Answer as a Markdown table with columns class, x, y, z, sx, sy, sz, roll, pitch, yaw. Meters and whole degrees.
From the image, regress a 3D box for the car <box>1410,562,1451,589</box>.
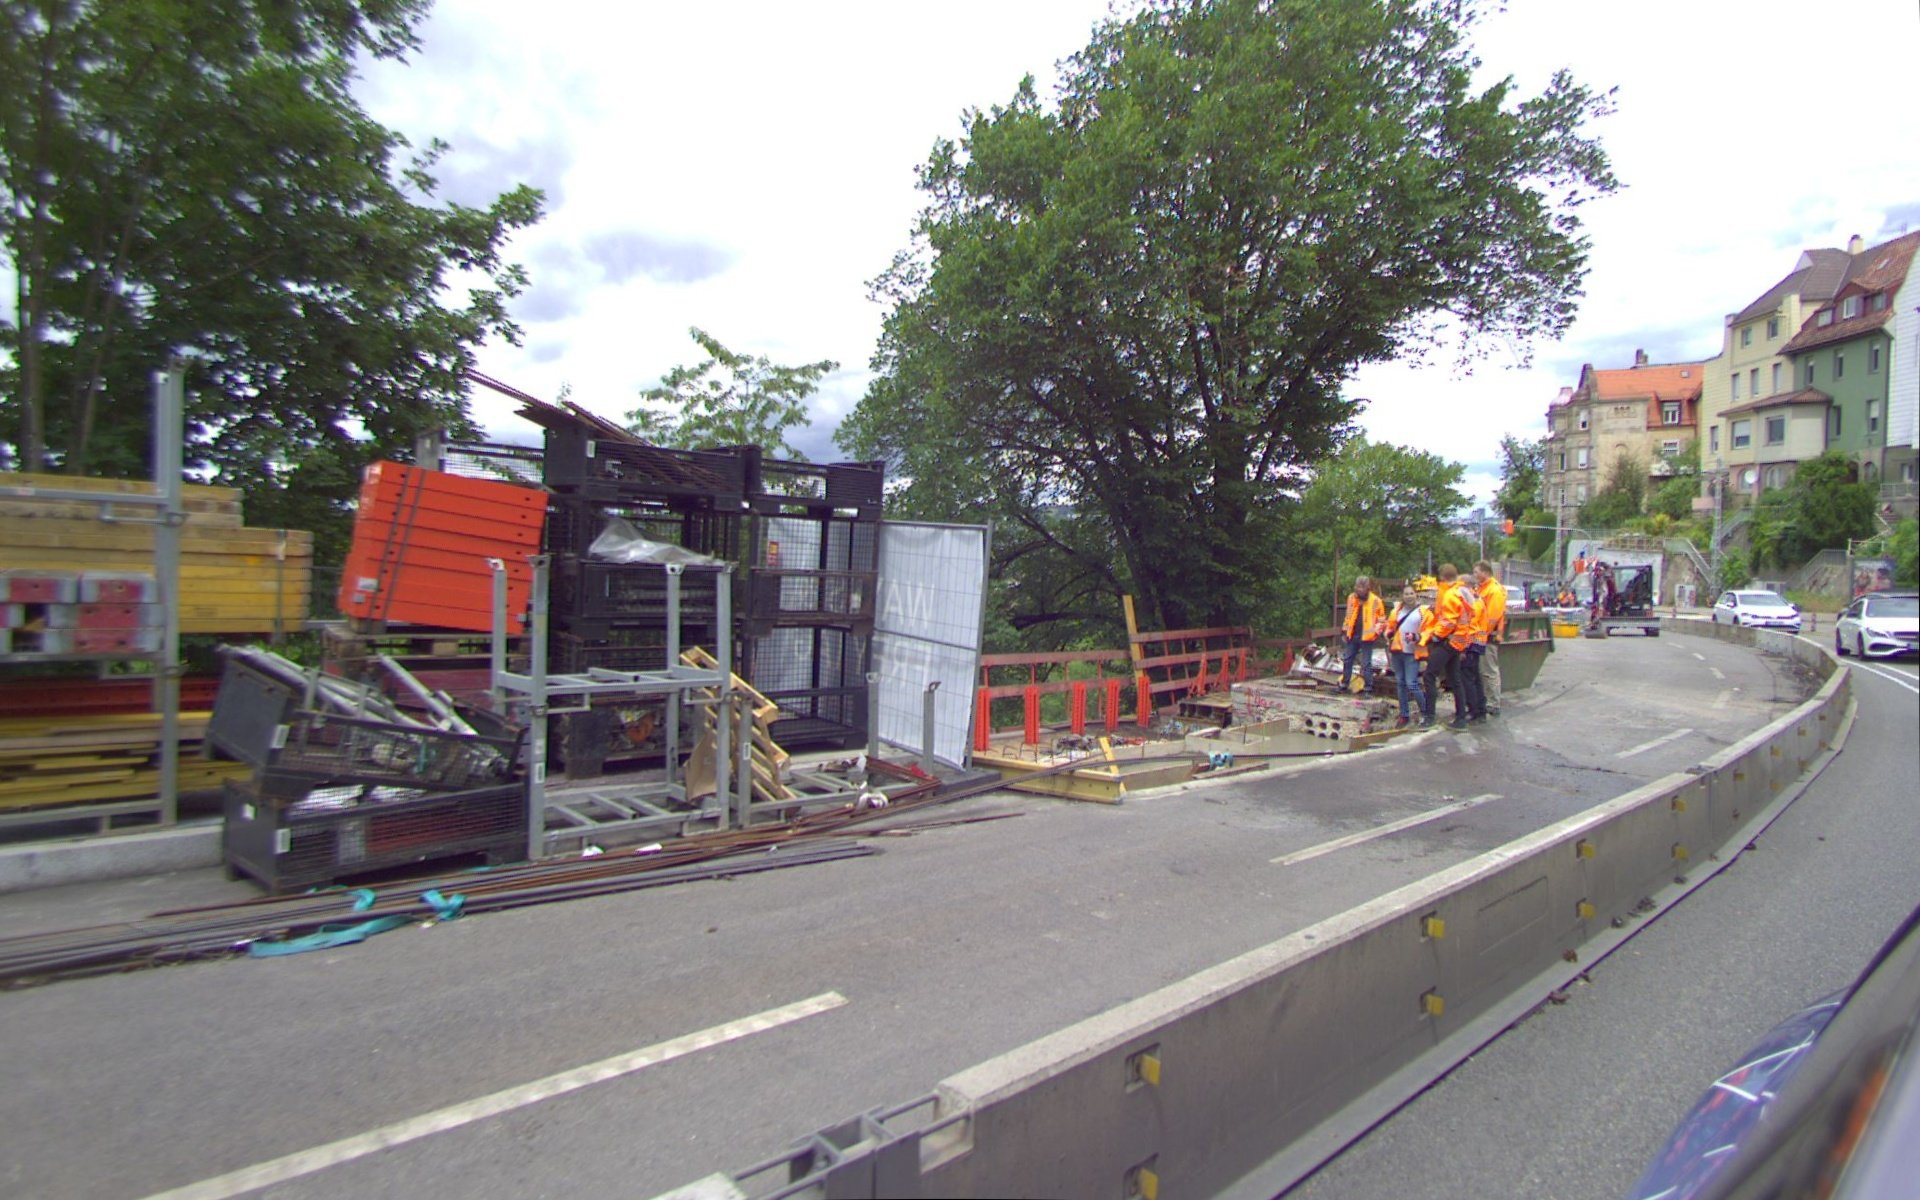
| class | x | y | z | sx | sy | sz | roll | pitch | yaw |
| --- | --- | --- | --- | --- | --- | --- | --- | --- | --- |
| car | 39.036 | -2.029 | 84.017 | 1.967 | 2.128 | 4.060 | 0 | 1 | 9 |

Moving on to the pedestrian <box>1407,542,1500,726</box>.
| class | x | y | z | sx | sy | sz | roll | pitch | yaw |
| --- | --- | --- | --- | --- | --- | --- | --- | --- | --- |
| pedestrian | 5.372 | 0.337 | 11.008 | 0.637 | 1.882 | 0.823 | 5 | 3 | 38 |

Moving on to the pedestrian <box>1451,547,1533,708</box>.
| class | x | y | z | sx | sy | sz | roll | pitch | yaw |
| --- | --- | --- | --- | --- | --- | --- | --- | --- | --- |
| pedestrian | 6.596 | 0.333 | 12.571 | 0.609 | 1.908 | 0.717 | 3 | 0 | 9 |

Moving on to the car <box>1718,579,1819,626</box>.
| class | x | y | z | sx | sy | sz | roll | pitch | yaw |
| --- | --- | --- | --- | --- | --- | --- | --- | --- | --- |
| car | 29.086 | 0.050 | 36.558 | 1.866 | 1.598 | 3.968 | 0 | 1 | 24 |

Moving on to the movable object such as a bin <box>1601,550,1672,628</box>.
| class | x | y | z | sx | sy | sz | roll | pitch | yaw |
| --- | --- | --- | --- | --- | --- | --- | --- | --- | --- |
| movable object such as a bin | 23.855 | -0.399 | 35.800 | 1.849 | 2.628 | 3.404 | 0 | 1 | 30 |

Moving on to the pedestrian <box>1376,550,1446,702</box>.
| class | x | y | z | sx | sy | sz | roll | pitch | yaw |
| --- | --- | --- | --- | --- | --- | --- | --- | --- | --- |
| pedestrian | 5.891 | 0.341 | 13.219 | 0.725 | 1.916 | 0.612 | -1 | -2 | 32 |

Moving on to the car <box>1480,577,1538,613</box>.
| class | x | y | z | sx | sy | sz | roll | pitch | yaw |
| --- | --- | --- | --- | --- | --- | --- | --- | --- | --- |
| car | 27.334 | -0.270 | 50.510 | 1.769 | 1.706 | 3.979 | 0 | 1 | 17 |

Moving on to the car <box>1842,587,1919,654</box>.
| class | x | y | z | sx | sy | sz | roll | pitch | yaw |
| --- | --- | --- | --- | --- | --- | --- | --- | --- | --- |
| car | 21.590 | 0.434 | 22.946 | 1.786 | 1.322 | 4.053 | 2 | 3 | 33 |

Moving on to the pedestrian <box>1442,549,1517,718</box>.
| class | x | y | z | sx | sy | sz | roll | pitch | yaw |
| --- | --- | --- | --- | --- | --- | --- | --- | --- | --- |
| pedestrian | 6.022 | 0.362 | 11.733 | 0.524 | 1.865 | 0.785 | 5 | 3 | 38 |

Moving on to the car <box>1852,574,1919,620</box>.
| class | x | y | z | sx | sy | sz | roll | pitch | yaw |
| --- | --- | --- | --- | --- | --- | --- | --- | --- | --- |
| car | 32.630 | -0.110 | 34.744 | 1.781 | 1.489 | 4.167 | 0 | 0 | 24 |

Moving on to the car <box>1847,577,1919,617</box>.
| class | x | y | z | sx | sy | sz | roll | pitch | yaw |
| --- | --- | --- | --- | --- | --- | --- | --- | --- | --- |
| car | 37.418 | -0.125 | 40.451 | 1.663 | 1.435 | 3.764 | -4 | -1 | 22 |

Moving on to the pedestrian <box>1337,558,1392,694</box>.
| class | x | y | z | sx | sy | sz | roll | pitch | yaw |
| --- | --- | --- | --- | --- | --- | --- | --- | --- | --- |
| pedestrian | 5.583 | 0.349 | 13.963 | 0.640 | 1.816 | 0.638 | -1 | 0 | 24 |
